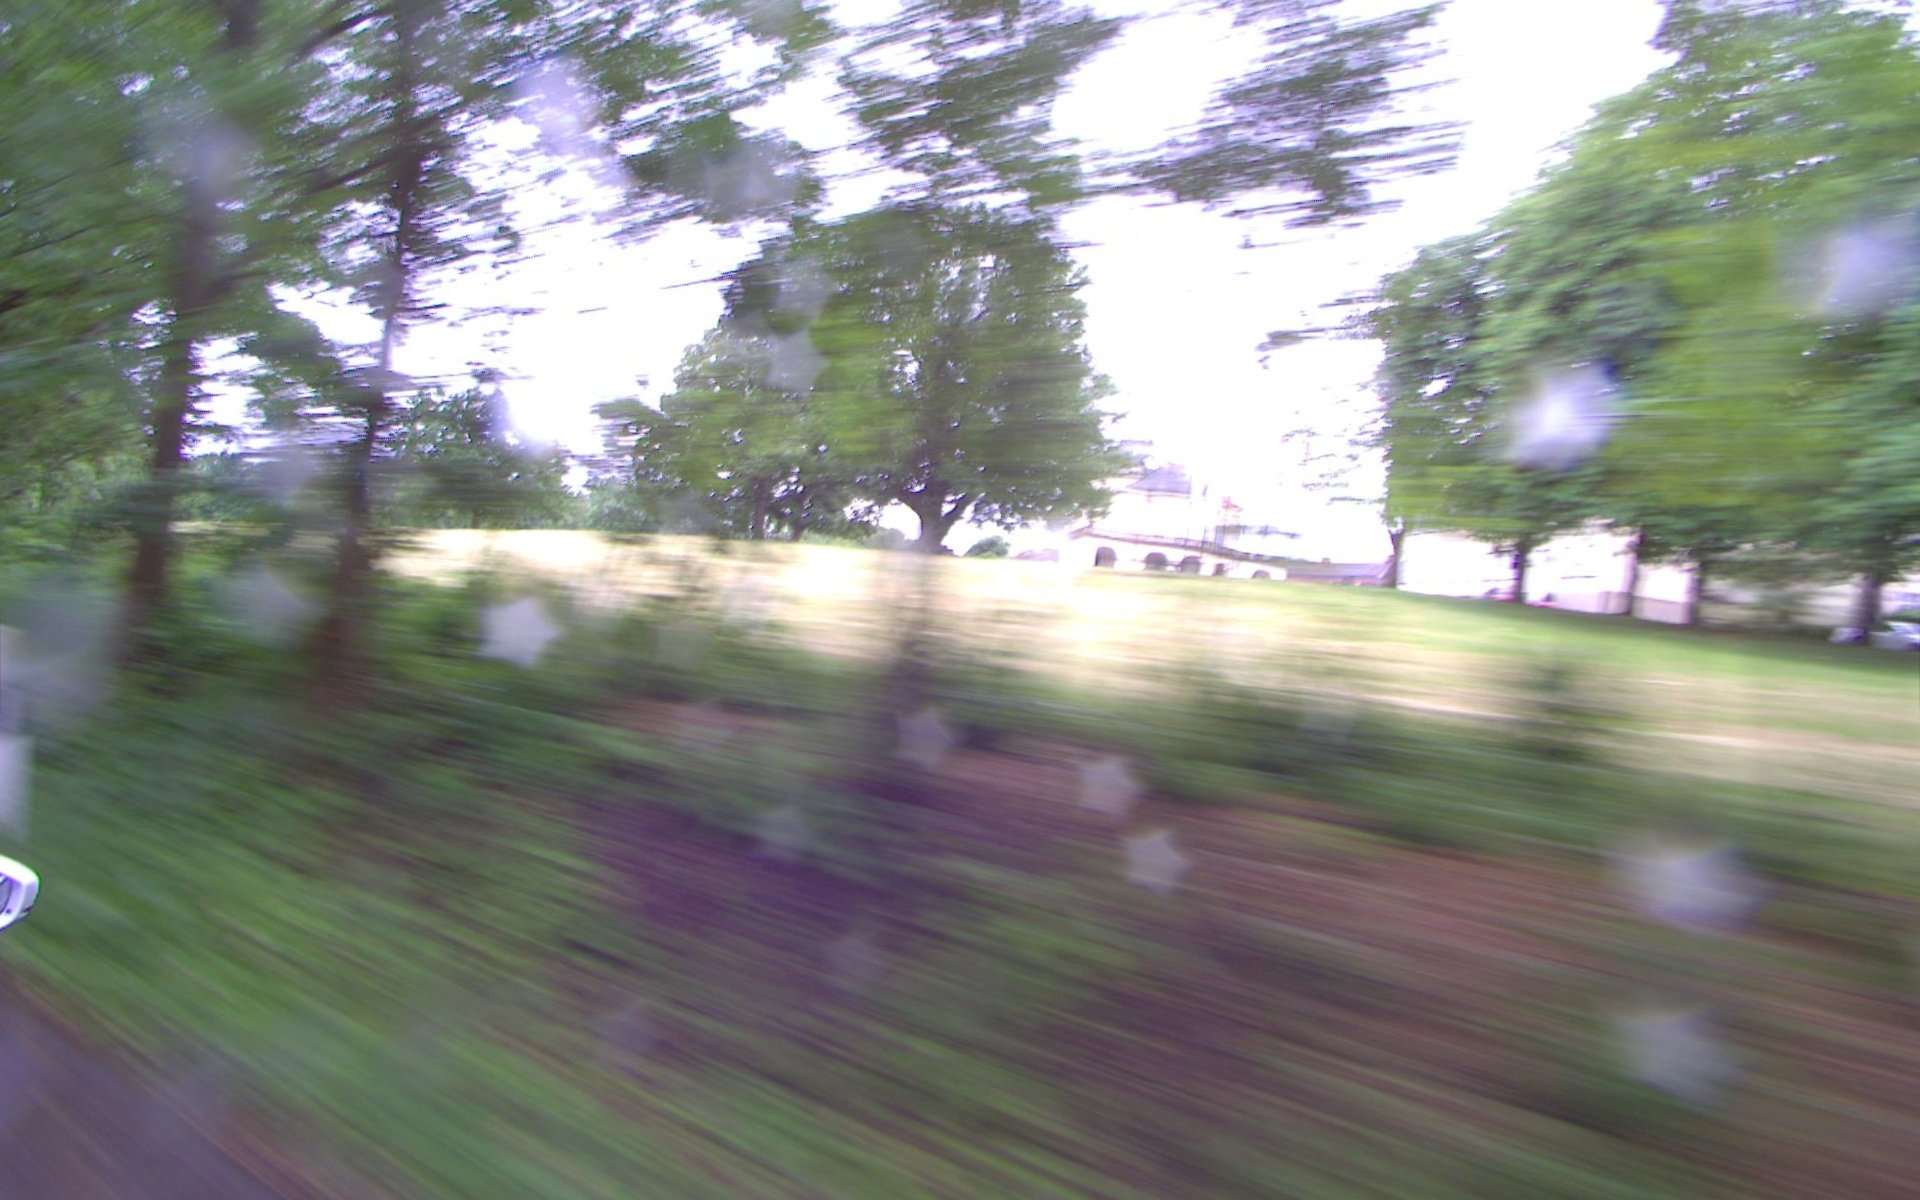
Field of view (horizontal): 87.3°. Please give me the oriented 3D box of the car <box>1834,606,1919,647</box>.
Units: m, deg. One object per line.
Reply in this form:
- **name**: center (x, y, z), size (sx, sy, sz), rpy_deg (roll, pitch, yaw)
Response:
- **car**: center (40.081, 1.219, 42.565), size (1.966, 1.448, 4.281), rpy_deg (5, 3, -11)
